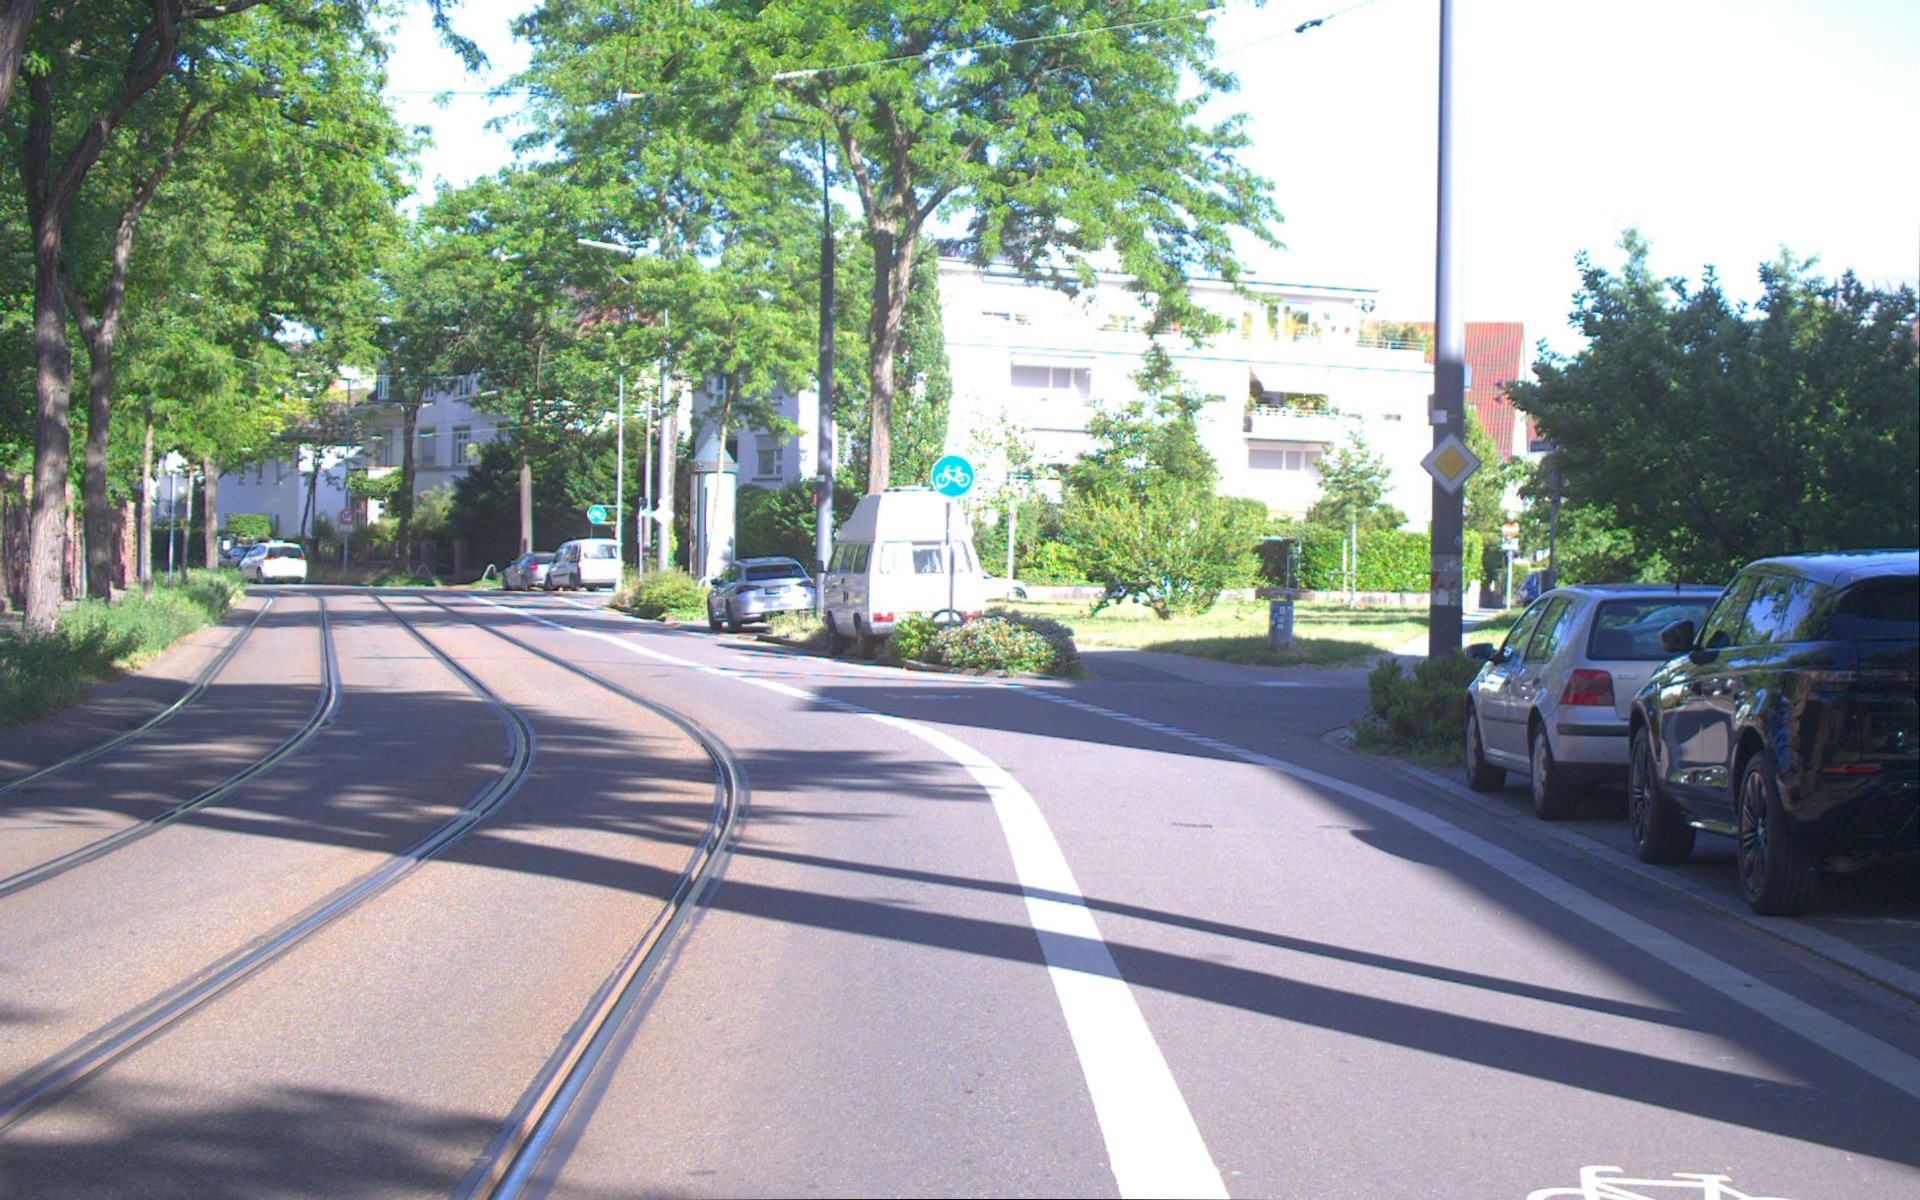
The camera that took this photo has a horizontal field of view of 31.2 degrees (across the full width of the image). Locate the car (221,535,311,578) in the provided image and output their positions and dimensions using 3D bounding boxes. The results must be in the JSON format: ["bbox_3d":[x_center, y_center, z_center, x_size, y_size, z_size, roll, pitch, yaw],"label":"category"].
[{"bbox_3d":[-27.800,-1.727,137.684,1.893,1.605,4.228,1,-1,-36],"label":"car"}]

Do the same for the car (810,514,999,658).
[{"bbox_3d":[-0.906,-0.239,52.719,1.993,2.088,4.718,1,1,-12],"label":"car"}]

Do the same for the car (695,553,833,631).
[{"bbox_3d":[-4.085,-0.198,70.774,2.000,1.460,5.434,-2,1,-12],"label":"car"}]

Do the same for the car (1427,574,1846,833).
[{"bbox_3d":[4.304,0.595,22.583,1.738,1.490,4.530,1,0,-1],"label":"car"}]

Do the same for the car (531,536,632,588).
[{"bbox_3d":[-13.263,-1.353,120.311,2.022,1.741,4.753,1,1,-26],"label":"car"}]

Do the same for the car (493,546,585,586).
[{"bbox_3d":[-15.439,-1.250,125.914,1.993,1.418,4.333,0,0,-26],"label":"car"}]

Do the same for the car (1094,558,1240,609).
[{"bbox_3d":[6.631,-0.513,110.224,4.279,1.505,1.840,1,-2,-22],"label":"car"}]

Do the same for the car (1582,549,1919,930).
[{"bbox_3d":[4.470,0.576,16.834,1.993,1.611,4.601,0,0,0],"label":"car"}]

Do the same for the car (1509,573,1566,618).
[{"bbox_3d":[22.586,-0.173,134.429,2.046,1.702,4.286,2,0,11],"label":"car"}]
